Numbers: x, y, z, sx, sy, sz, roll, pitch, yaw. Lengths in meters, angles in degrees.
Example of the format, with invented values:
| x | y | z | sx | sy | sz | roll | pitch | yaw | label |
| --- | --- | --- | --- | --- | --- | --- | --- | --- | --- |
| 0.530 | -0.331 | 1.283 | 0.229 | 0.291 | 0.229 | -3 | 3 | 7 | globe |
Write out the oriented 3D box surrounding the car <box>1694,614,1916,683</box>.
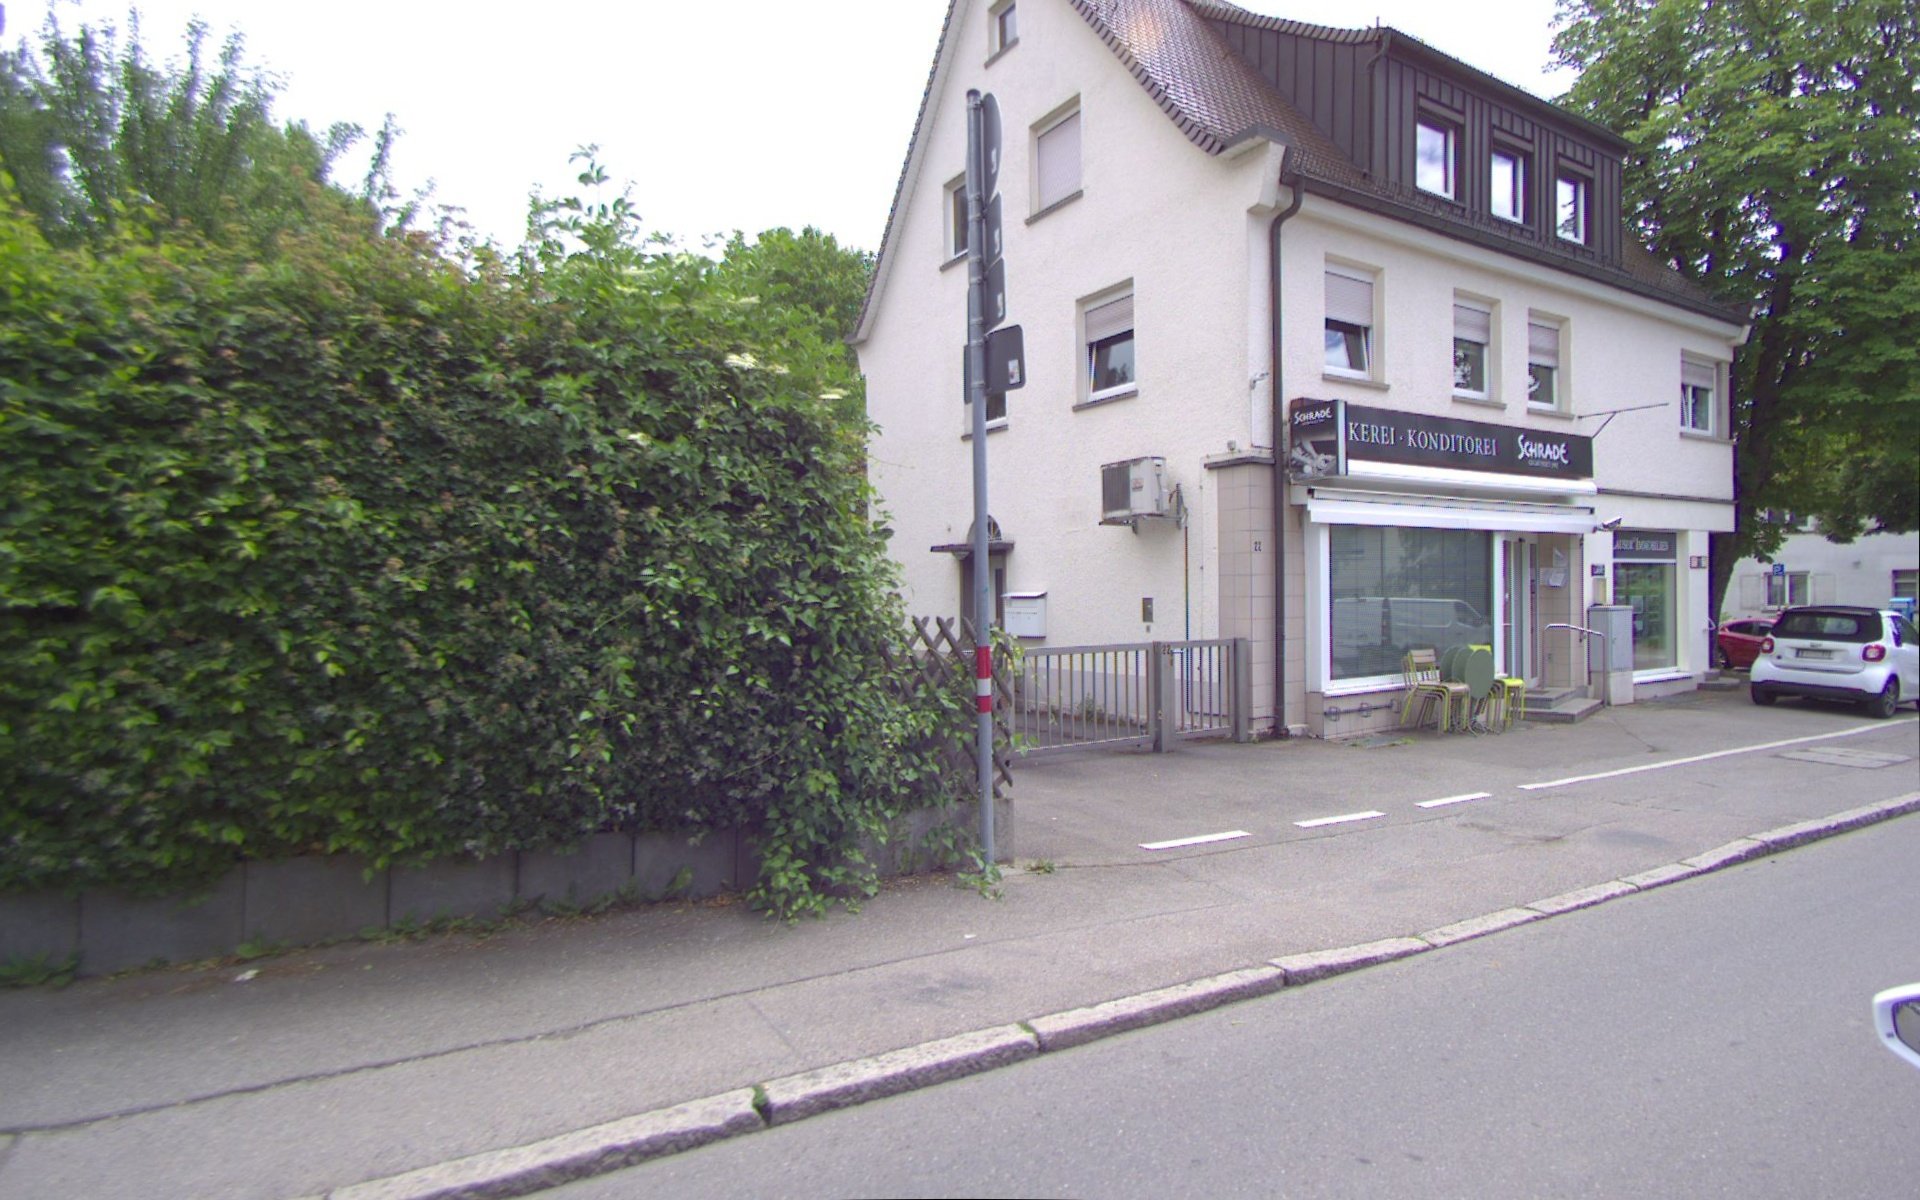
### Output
| x | y | z | sx | sy | sz | roll | pitch | yaw | label |
| --- | --- | --- | --- | --- | --- | --- | --- | --- | --- |
| 21.105 | 1.159 | 25.346 | 1.782 | 1.451 | 4.230 | -3 | 0 | -5 | car |

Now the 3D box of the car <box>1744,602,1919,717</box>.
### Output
| x | y | z | sx | sy | sz | roll | pitch | yaw | label |
| --- | --- | --- | --- | --- | --- | --- | --- | --- | --- |
| 13.769 | 0.849 | 15.564 | 2.890 | 1.559 | 1.580 | 0 | 2 | -31 | car |
